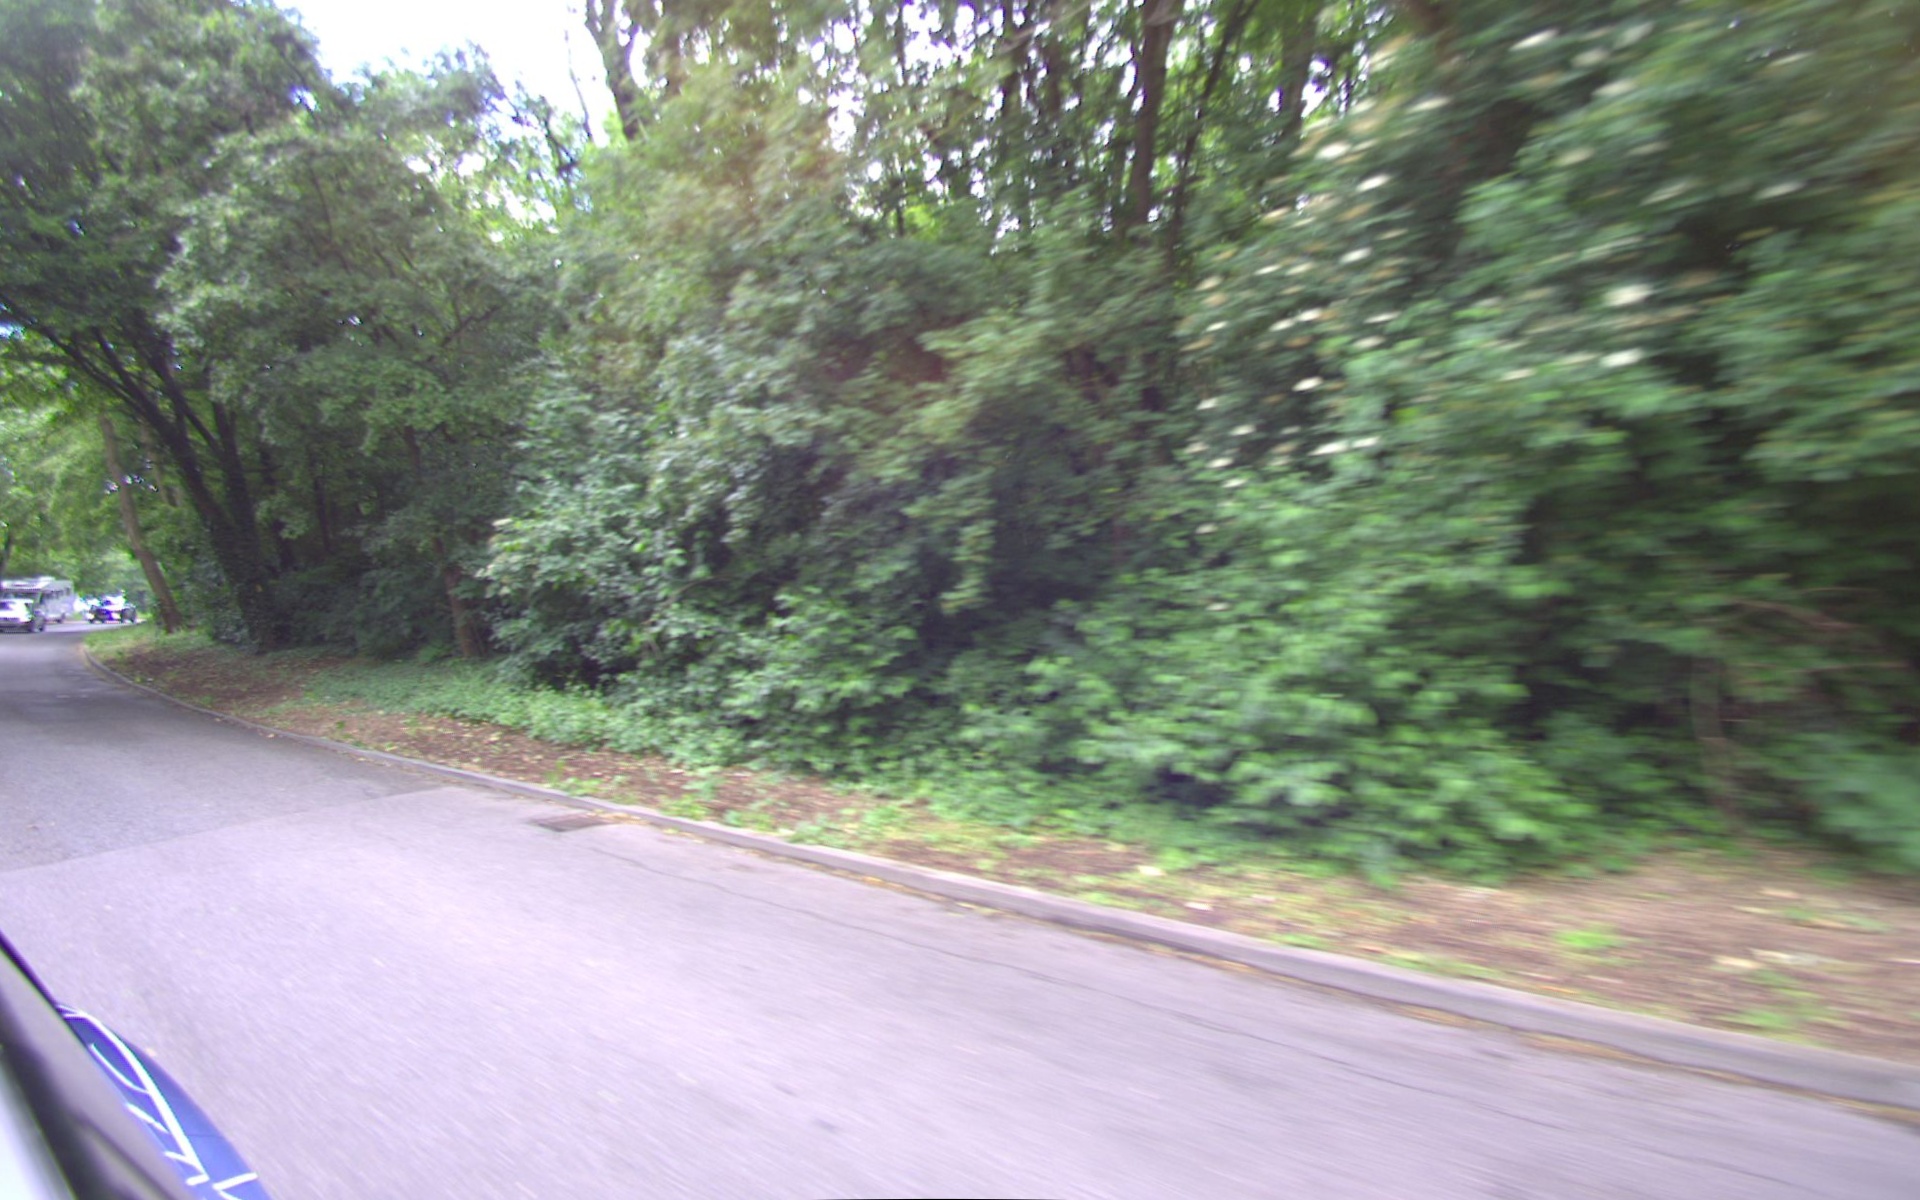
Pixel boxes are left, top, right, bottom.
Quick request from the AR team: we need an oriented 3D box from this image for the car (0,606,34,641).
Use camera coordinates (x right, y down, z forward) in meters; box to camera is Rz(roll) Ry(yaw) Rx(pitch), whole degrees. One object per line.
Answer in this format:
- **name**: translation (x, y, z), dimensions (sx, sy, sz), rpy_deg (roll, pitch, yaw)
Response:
- **car**: translation (-45.415, 1.118, 48.383), dimensions (1.630, 1.580, 4.050), rpy_deg (-1, 0, -42)

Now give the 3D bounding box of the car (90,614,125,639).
- **car**: translation (-56.687, 1.751, 67.271), dimensions (1.741, 1.580, 4.052), rpy_deg (-1, 0, -40)

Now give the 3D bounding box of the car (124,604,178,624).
- **car**: translation (-64.427, 1.087, 80.690), dimensions (1.740, 1.580, 4.055), rpy_deg (-1, 0, -12)

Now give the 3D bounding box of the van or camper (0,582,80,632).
- **van or camper**: translation (-59.273, 0.447, 64.997), dimensions (2.390, 3.002, 7.417), rpy_deg (-1, 0, -27)
